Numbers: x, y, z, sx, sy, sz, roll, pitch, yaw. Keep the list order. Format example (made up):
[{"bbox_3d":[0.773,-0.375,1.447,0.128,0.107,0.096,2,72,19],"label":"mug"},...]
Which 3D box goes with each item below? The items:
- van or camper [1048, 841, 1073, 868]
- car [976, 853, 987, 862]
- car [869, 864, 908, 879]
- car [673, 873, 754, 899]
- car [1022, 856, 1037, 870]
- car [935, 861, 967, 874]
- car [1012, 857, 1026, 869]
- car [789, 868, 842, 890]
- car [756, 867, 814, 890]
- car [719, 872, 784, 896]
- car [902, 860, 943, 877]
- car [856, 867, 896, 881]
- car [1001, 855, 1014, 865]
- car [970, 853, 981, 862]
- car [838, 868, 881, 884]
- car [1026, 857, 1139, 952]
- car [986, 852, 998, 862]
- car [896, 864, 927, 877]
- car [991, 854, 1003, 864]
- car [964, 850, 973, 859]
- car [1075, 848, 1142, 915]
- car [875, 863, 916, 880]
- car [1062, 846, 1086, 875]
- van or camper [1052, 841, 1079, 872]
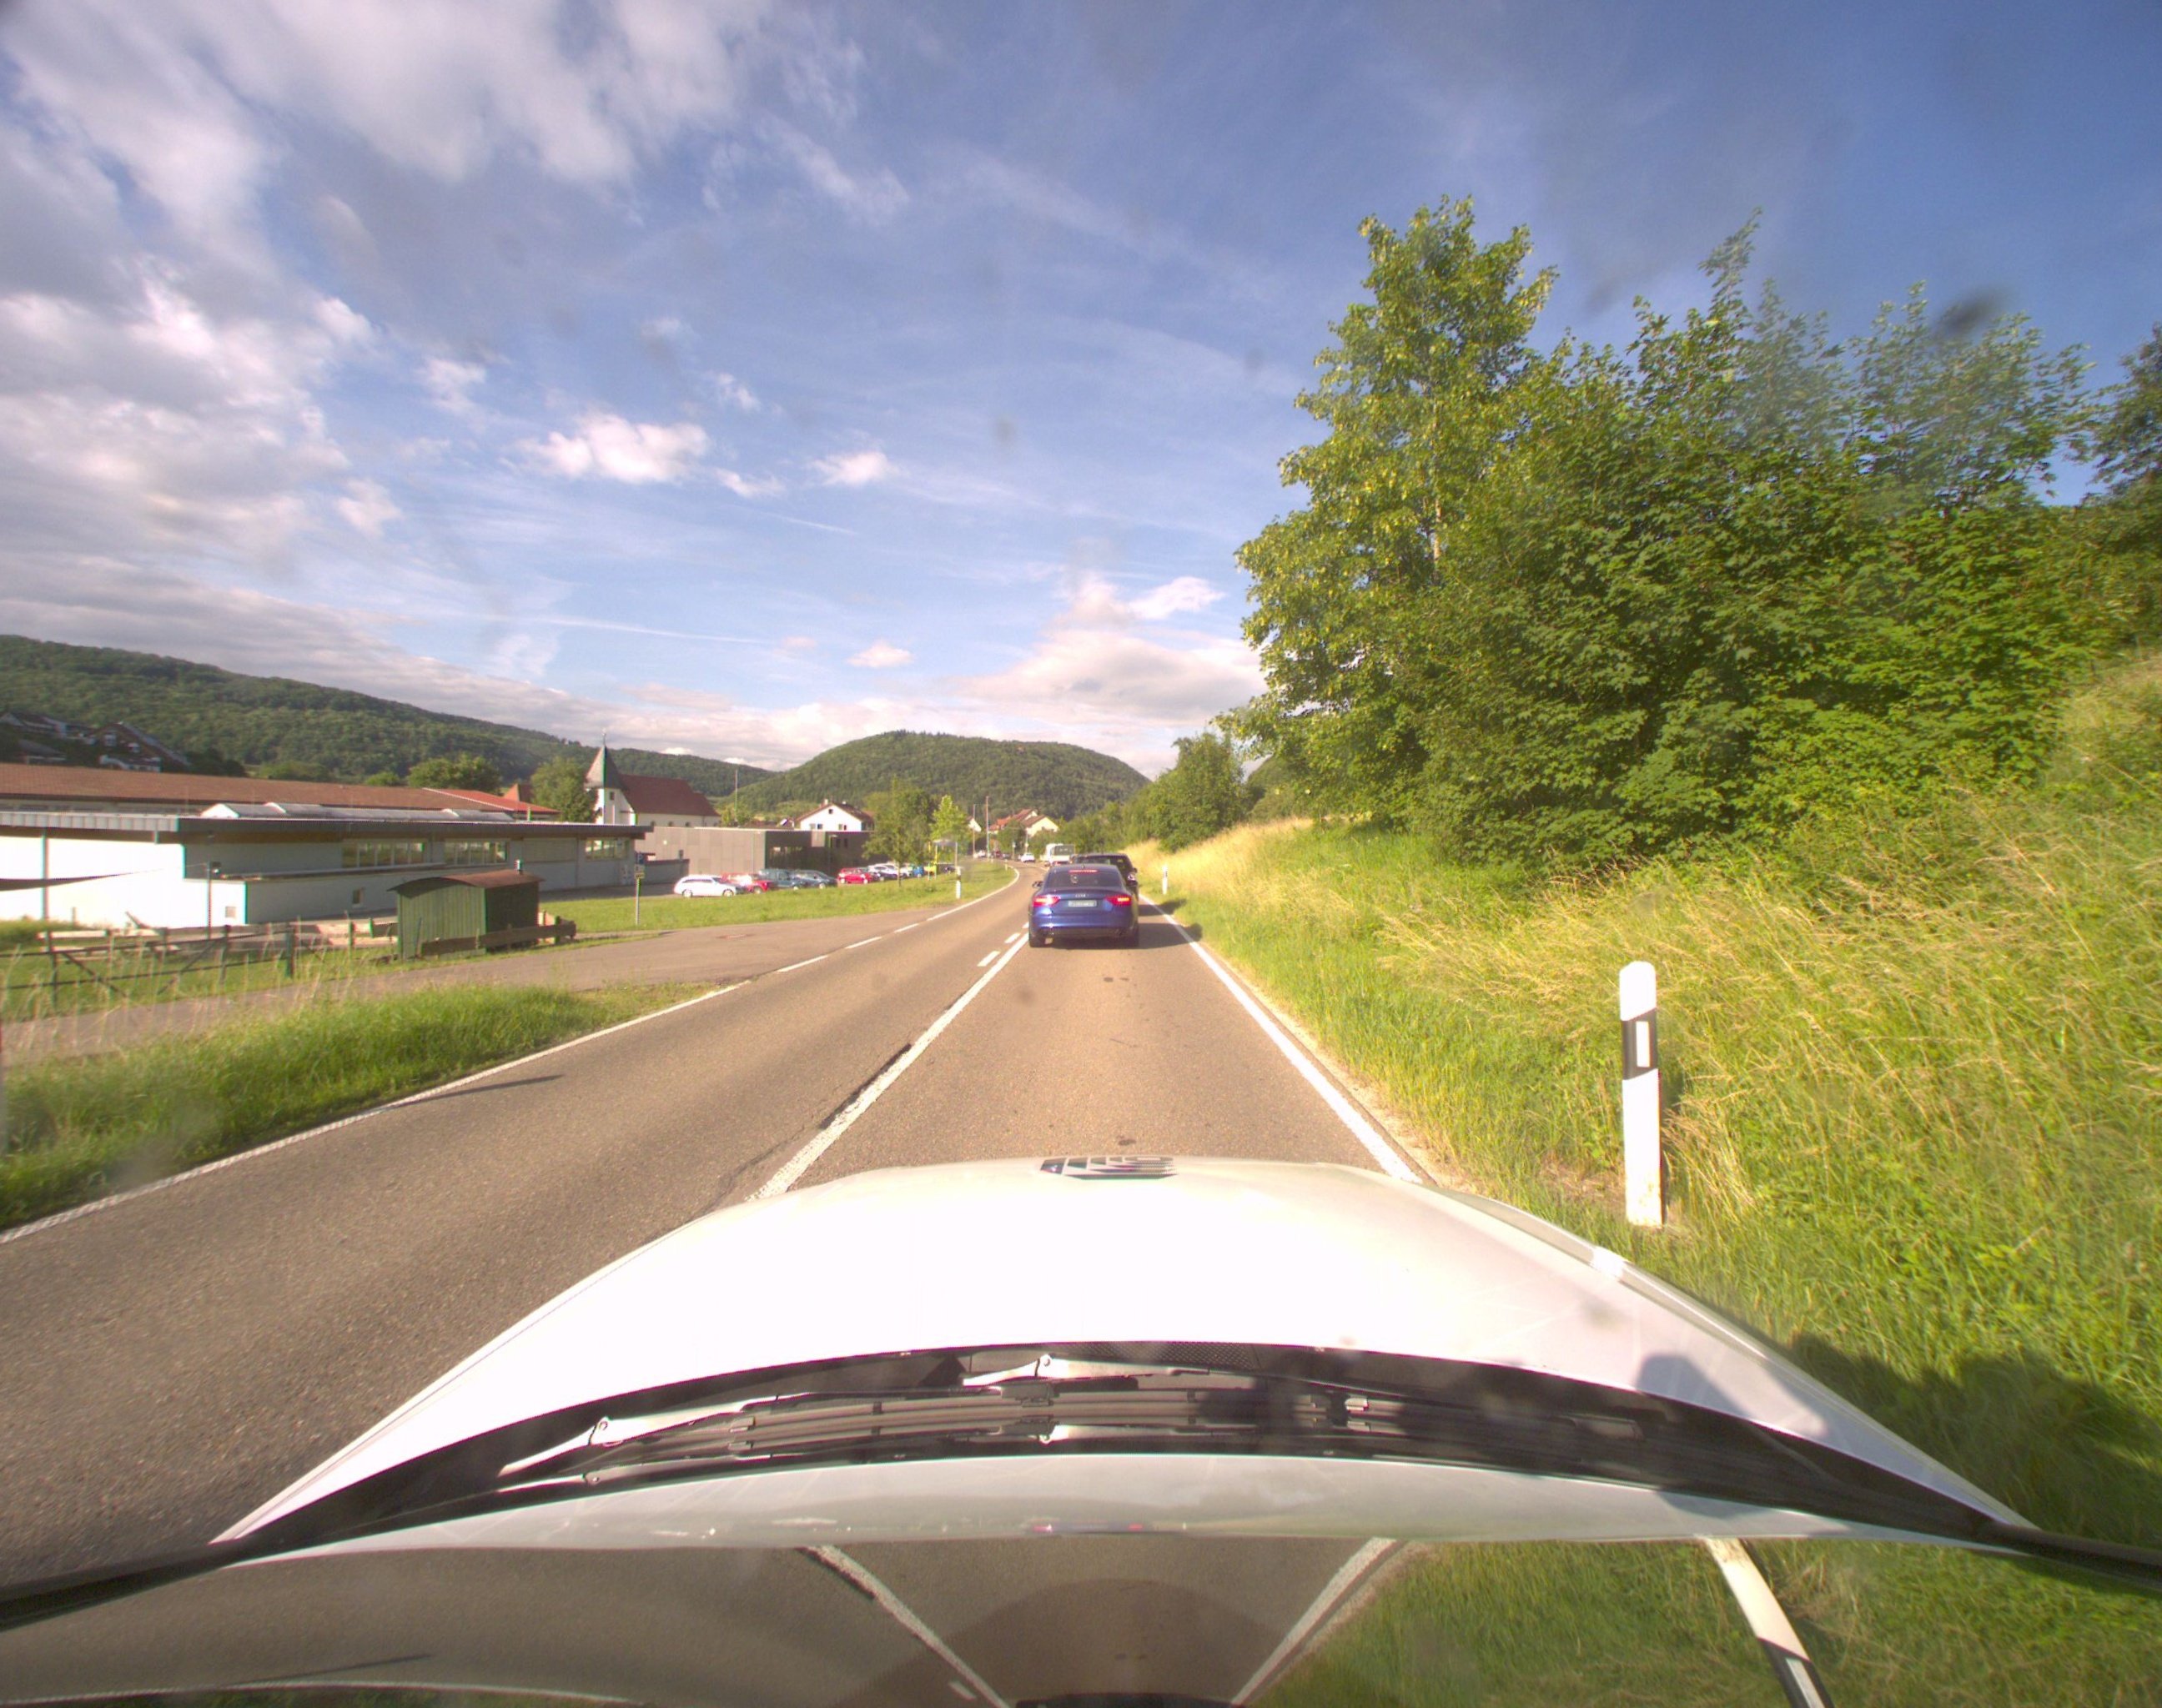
[{"bbox_3d":[-2.226,0.068,87.259,2.277,2.714,5.757,0,0,-5],"label":"van or camper"},{"bbox_3d":[-22.268,0.716,182.404,1.681,1.924,3.976,-2,0,-17],"label":"car"},{"bbox_3d":[-20.531,1.889,86.901,3.646,1.494,1.600,-2,-2,7],"label":"car"},{"bbox_3d":[-25.009,2.145,55.487,4.617,1.589,2.003,-1,0,6],"label":"car"},{"bbox_3d":[-7.804,1.348,123.135,1.661,1.924,3.983,-2,0,-12],"label":"car"},{"bbox_3d":[-18.121,1.831,113.330,4.014,1.660,1.659,-2,0,7],"label":"car"},{"bbox_3d":[-10.161,1.458,133.579,1.661,1.924,3.983,-2,0,-12],"label":"car"},{"bbox_3d":[-22.365,2.127,68.583,3.798,1.722,1.735,-1,0,6],"label":"car"},{"bbox_3d":[-23.171,1.900,63.882,3.844,1.722,1.758,-1,0,4],"label":"car"},{"bbox_3d":[-23.574,2.121,58.310,3.899,1.579,1.759,-1,0,6],"label":"car"},{"bbox_3d":[-19.210,1.732,98.845,4.528,1.815,1.845,-2,0,7],"label":"car"},{"bbox_3d":[-21.090,2.062,83.762,3.605,1.405,1.599,-2,-3,7],"label":"car"},{"bbox_3d":[-13.828,1.115,152.880,1.662,1.924,3.979,-2,0,-15],"label":"car"},{"bbox_3d":[-24.676,0.792,190.418,1.960,1.924,3.976,-2,0,-17],"label":"car"},{"bbox_3d":[-21.415,2.138,78.675,3.605,1.444,1.652,-2,0,7],"label":"car"},{"bbox_3d":[0.114,0.783,14.350,1.735,1.450,3.520,0,0,3],"label":"car"},{"bbox_3d":[-19.082,0.651,174.052,1.681,1.924,3.976,-2,0,-17],"label":"car"},{"bbox_3d":[-20.001,1.968,96.165,3.359,1.373,1.660,-2,0,-1],"label":"car"},{"bbox_3d":[-17.052,1.099,165.361,1.681,1.924,3.977,-2,0,-16],"label":"car"},{"bbox_3d":[-27.431,0.158,198.431,1.681,1.924,3.976,-2,0,-17],"label":"car"},{"bbox_3d":[0.680,0.686,21.639,1.640,1.625,3.516,0,0,0],"label":"car"},{"bbox_3d":[-20.544,1.933,90.317,4.055,1.673,1.600,-2,0,7],"label":"car"},{"bbox_3d":[-0.545,0.466,59.522,1.563,2.013,3.997,-2,0,-2],"label":"car"},{"bbox_3d":[-1.405,0.247,70.989,2.047,2.505,5.805,-2,0,-3],"label":"van or camper"}]
